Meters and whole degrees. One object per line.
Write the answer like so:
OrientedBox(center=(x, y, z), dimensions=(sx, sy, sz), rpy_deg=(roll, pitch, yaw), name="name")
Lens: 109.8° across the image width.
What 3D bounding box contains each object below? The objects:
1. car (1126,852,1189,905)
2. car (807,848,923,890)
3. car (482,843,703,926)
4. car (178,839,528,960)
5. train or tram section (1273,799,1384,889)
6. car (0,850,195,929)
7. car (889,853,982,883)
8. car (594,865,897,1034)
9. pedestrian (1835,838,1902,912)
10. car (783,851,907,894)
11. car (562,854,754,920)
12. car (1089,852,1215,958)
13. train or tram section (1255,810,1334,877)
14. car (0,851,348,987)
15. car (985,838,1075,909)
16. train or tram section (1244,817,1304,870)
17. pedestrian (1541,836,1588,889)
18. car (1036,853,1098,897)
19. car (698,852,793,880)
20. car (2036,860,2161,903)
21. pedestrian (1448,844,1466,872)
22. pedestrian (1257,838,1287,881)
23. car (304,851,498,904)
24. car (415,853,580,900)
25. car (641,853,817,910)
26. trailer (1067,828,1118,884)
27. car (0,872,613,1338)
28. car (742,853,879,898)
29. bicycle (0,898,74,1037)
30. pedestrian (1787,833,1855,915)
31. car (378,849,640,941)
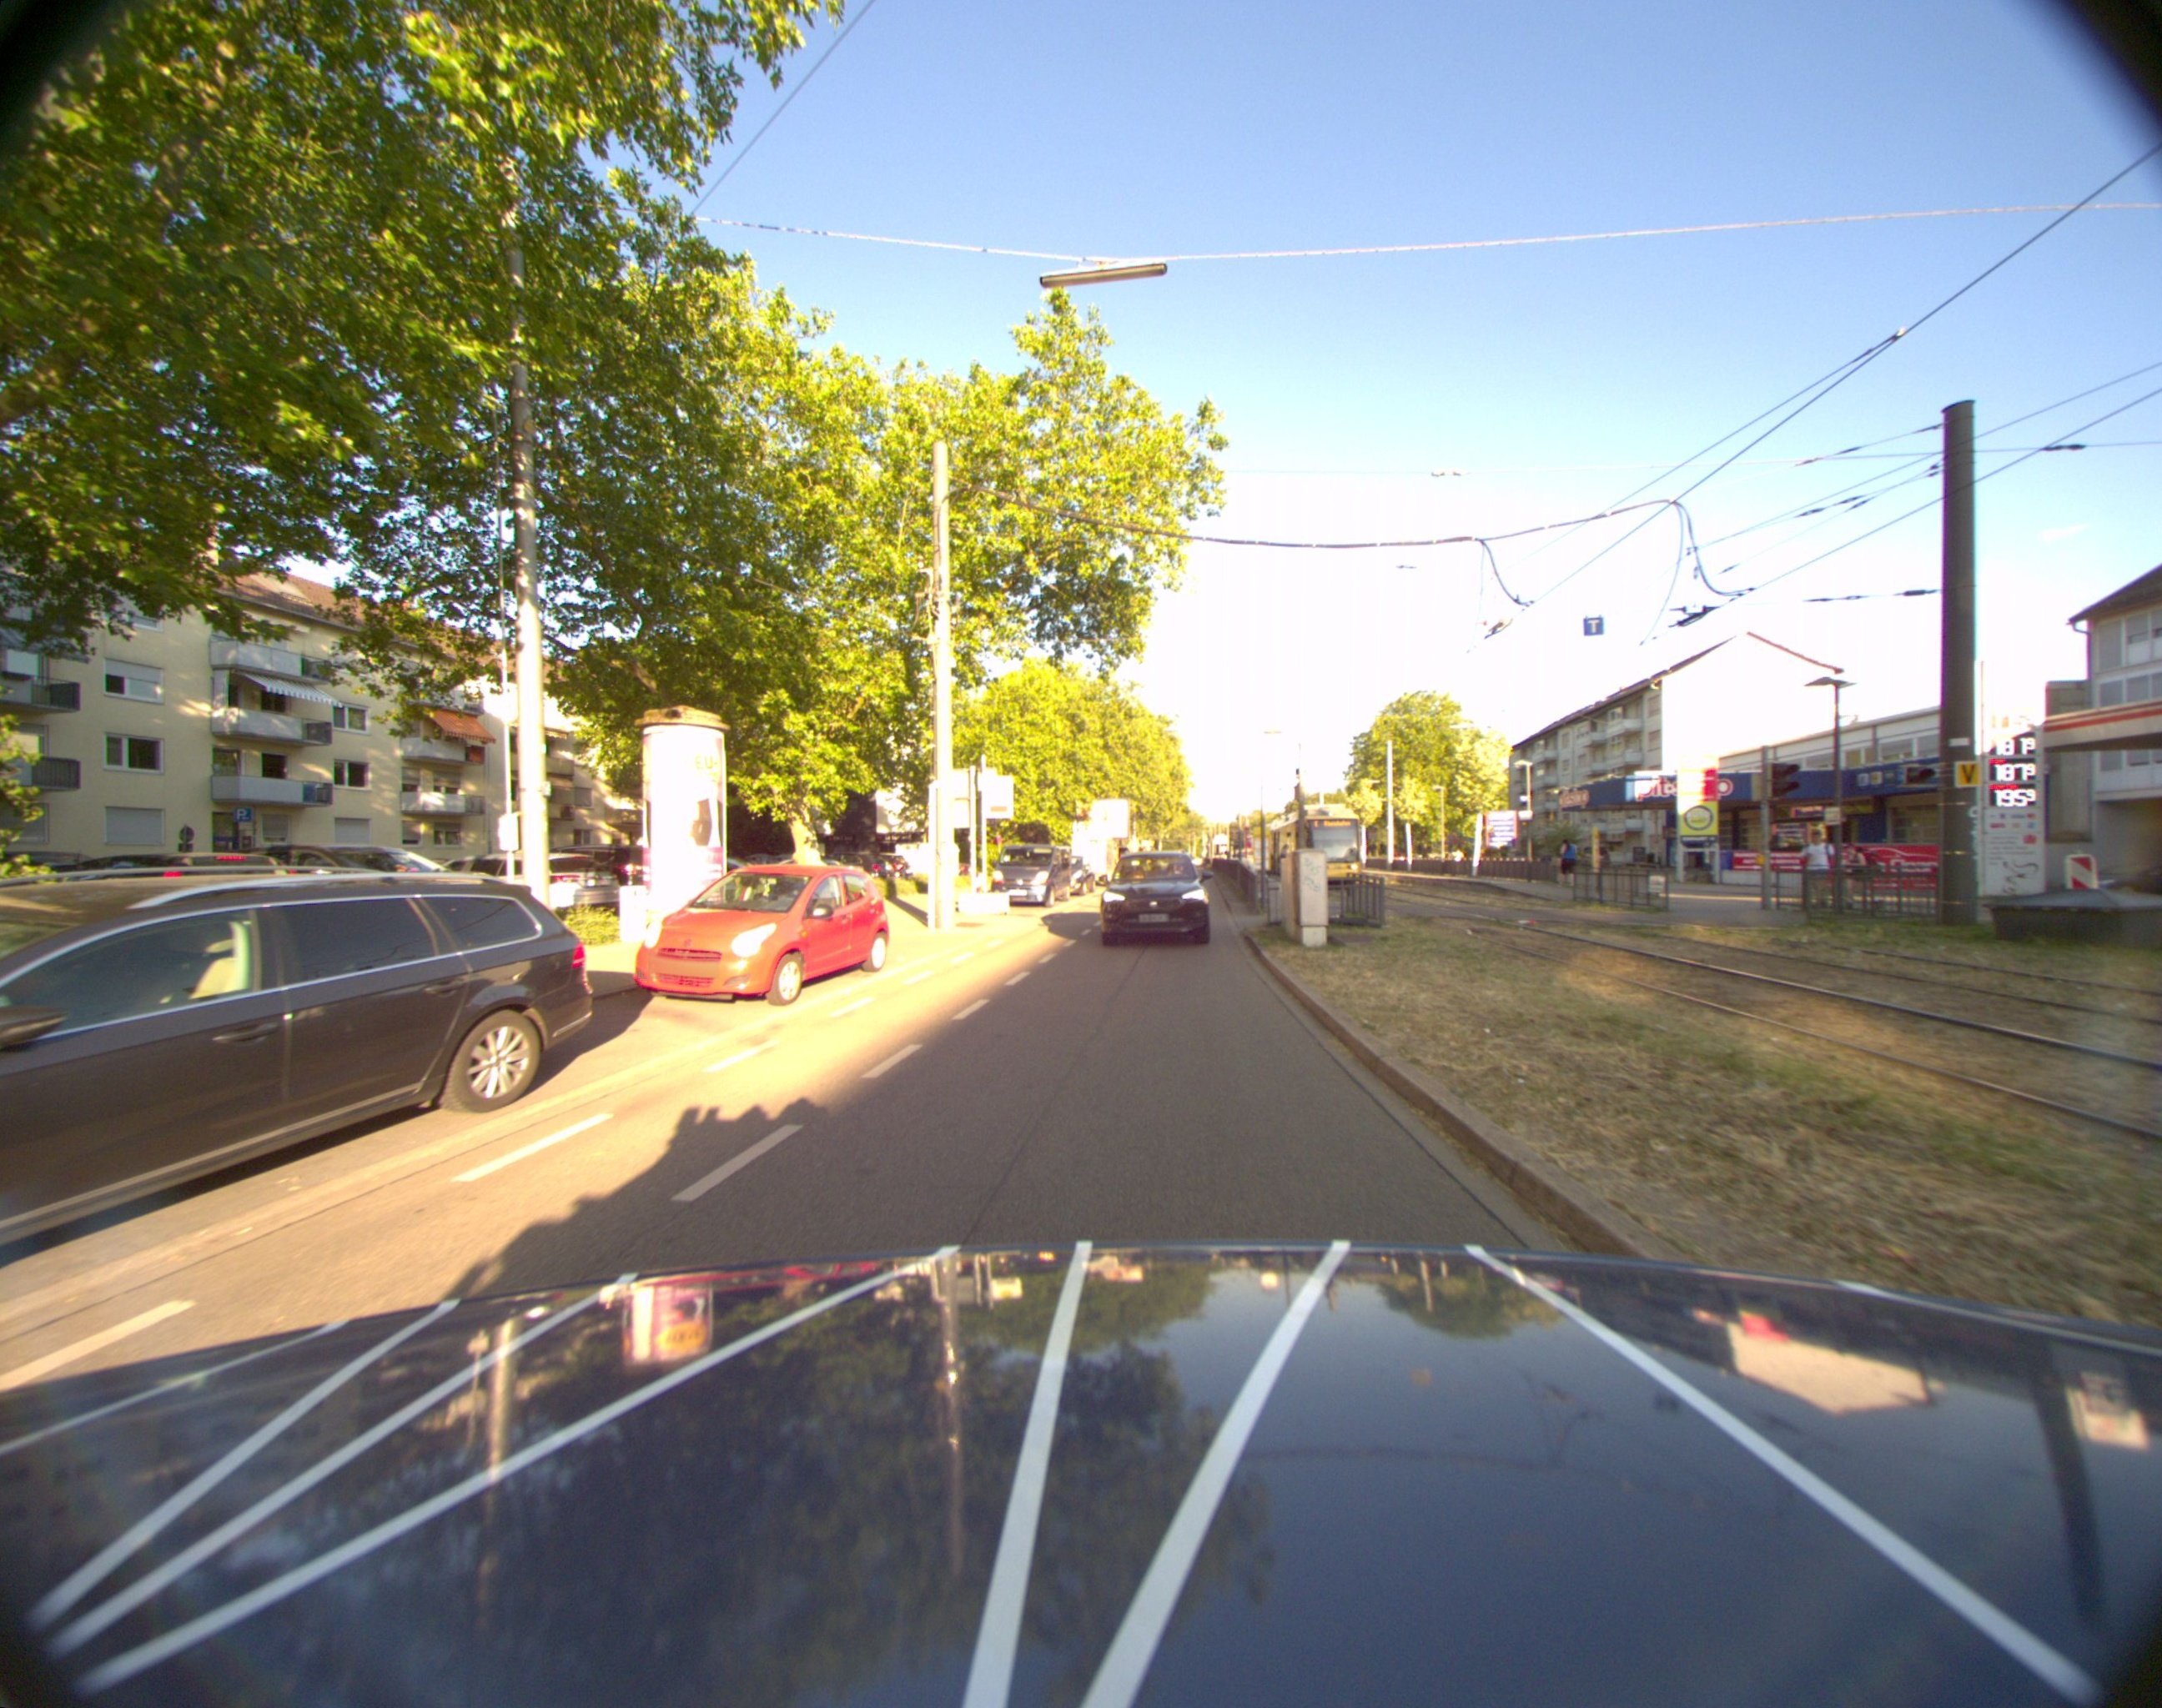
OrientedBox(center=(2.807, 0.803, 26.944), dimensions=(1.888, 1.656, 4.856), rpy_deg=(-1, 0, 9), name="car")
OrientedBox(center=(-8.849, 0.605, 31.237), dimensions=(4.119, 1.541, 1.804), rpy_deg=(-3, 0, 10), name="car")
OrientedBox(center=(-10.820, 0.663, 16.964), dimensions=(3.847, 1.622, 1.858), rpy_deg=(-2, 0, 10), name="car")
OrientedBox(center=(-11.487, 0.689, 12.142), dimensions=(4.029, 1.591, 1.857), rpy_deg=(-3, 0, 8), name="car")
OrientedBox(center=(10.940, -0.459, 34.758), dimensions=(3.041, 3.497, 10.101), rpy_deg=(1, 1, 8), name="train or tram section")
OrientedBox(center=(-21.561, 0.691, 15.961), dimensions=(4.056, 1.526, 2.001), rpy_deg=(0, 0, 9), name="car")
OrientedBox(center=(-7.418, 0.689, 39.074), dimensions=(4.290, 1.487, 2.001), rpy_deg=(0, 0, 5), name="car")
OrientedBox(center=(-3.704, 0.941, 9.136), dimensions=(1.572, 1.486, 3.628), rpy_deg=(2, 1, 9), name="car")
OrientedBox(center=(19.048, 0.494, 18.396), dimensions=(0.754, 1.737, 0.861), rpy_deg=(0, 1, 6), name="pedestrian")
OrientedBox(center=(-8.940, 0.678, 28.921), dimensions=(4.119, 1.589, 1.804), rpy_deg=(0, 0, 10), name="car")
OrientedBox(center=(-10.439, 0.802, 18.863), dimensions=(3.847, 1.427, 1.804), rpy_deg=(-2, -1, 10), name="car")
OrientedBox(center=(1.294, 0.805, 14.079), dimensions=(1.910, 1.606, 4.087), rpy_deg=(-3, 0, 5), name="car")
OrientedBox(center=(12.303, -0.618, 44.765), dimensions=(3.041, 3.497, 10.101), rpy_deg=(1, 1, 8), name="train or tram section")
OrientedBox(center=(-11.945, 0.795, 9.759), dimensions=(3.504, 1.474, 1.775), rpy_deg=(-3, 0, 8), name="car")
OrientedBox(center=(-1.514, 0.559, 24.463), dimensions=(1.888, 2.066, 4.566), rpy_deg=(0, 0, 9), name="car")
OrientedBox(center=(13.687, -0.767, 54.779), dimensions=(3.041, 3.497, 10.101), rpy_deg=(1, 1, 8), name="train or tram section")
OrientedBox(center=(15.708, 0.258, 24.723), dimensions=(0.936, 1.644, 0.926), rpy_deg=(-3, 0, 9), name="pedestrian")
OrientedBox(center=(-0.474, 0.791, 30.483), dimensions=(1.799, 1.621, 4.003), rpy_deg=(0, 0, 9), name="car")
OrientedBox(center=(-18.187, 0.631, 41.346), dimensions=(4.290, 1.487, 2.001), rpy_deg=(0, 0, 5), name="car")
OrientedBox(center=(38.617, 0.991, 28.104), dimensions=(3.801, 1.514, 1.819), rpy_deg=(0, 0, 12), name="car")
OrientedBox(center=(26.236, 0.288, 52.973), dimensions=(0.754, 1.871, 1.001), rpy_deg=(-3, 0, 8), name="pedestrian")
OrientedBox(center=(7.132, 0.199, 28.414), dimensions=(0.918, 1.541, 0.789), rpy_deg=(-2, 1, 1), name="pedestrian")
OrientedBox(center=(-20.622, 0.670, 23.154), dimensions=(4.290, 1.526, 2.001), rpy_deg=(0, 0, 6), name="car")
OrientedBox(center=(-19.880, 0.760, 25.977), dimensions=(4.289, 1.526, 2.001), rpy_deg=(0, 0, 7), name="car")
OrientedBox(center=(-9.716, 0.721, 21.101), dimensions=(4.119, 1.486, 1.804), rpy_deg=(0, 0, 10), name="car")
OrientedBox(center=(0.637, 0.082, 37.574), dimensions=(1.888, 2.573, 4.654), rpy_deg=(0, 0, 9), name="trailer")
OrientedBox(center=(-4.619, 0.946, 3.350), dimensions=(1.699, 1.522, 4.655), rpy_deg=(2, 1, 9), name="car")
OrientedBox(center=(-9.402, 0.734, 26.518), dimensions=(4.119, 1.486, 1.804), rpy_deg=(0, 0, 10), name="car")
OrientedBox(center=(-8.963, 0.877, 5.623), dimensions=(1.682, 1.008, 0.649), rpy_deg=(0, 1, -29), name="bicycle")
OrientedBox(center=(17.592, 0.466, 18.087), dimensions=(0.859, 1.921, 0.756), rpy_deg=(0, 1, 6), name="pedestrian")
OrientedBox(center=(-10.973, 0.757, 14.720), dimensions=(3.847, 1.486, 1.858), rpy_deg=(-3, 0, 10), name="car")
